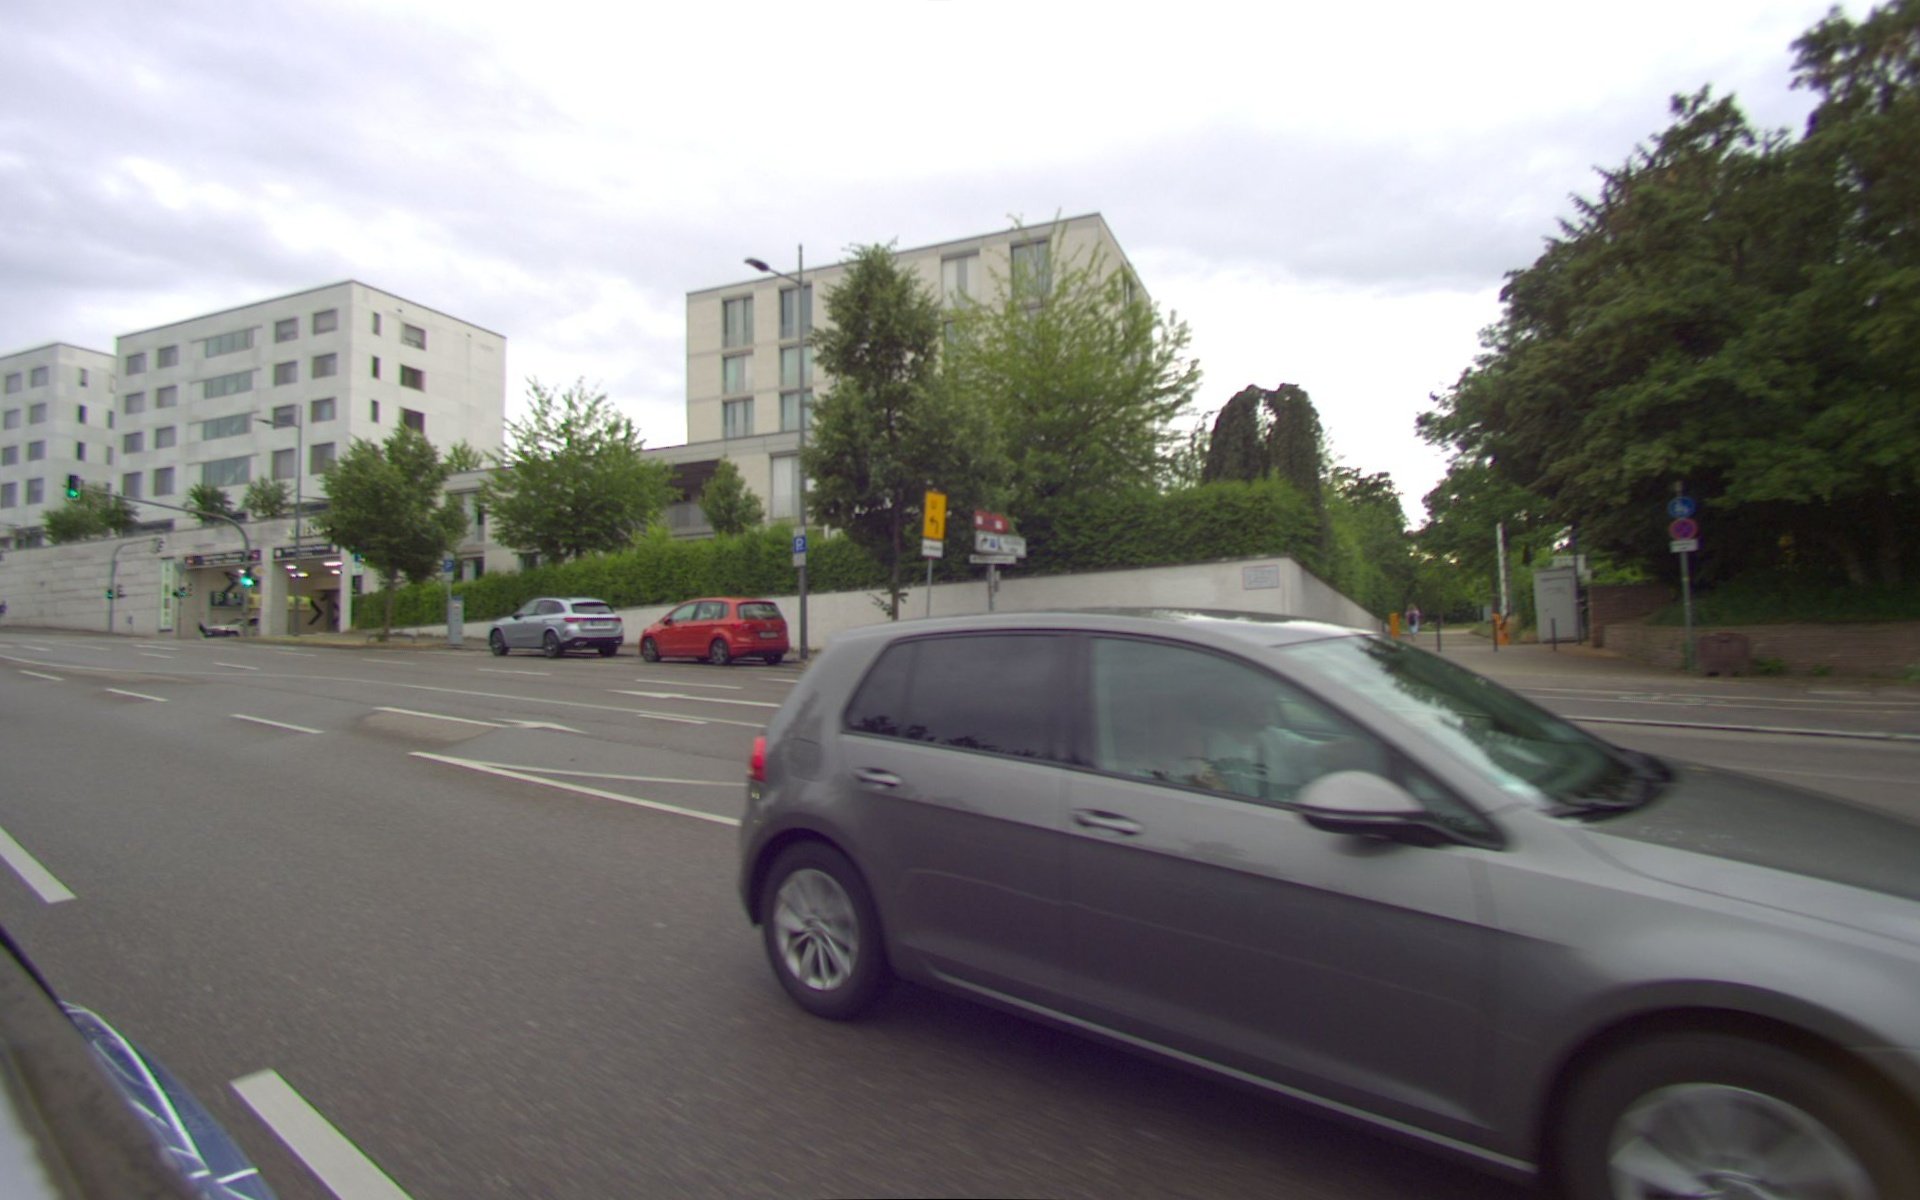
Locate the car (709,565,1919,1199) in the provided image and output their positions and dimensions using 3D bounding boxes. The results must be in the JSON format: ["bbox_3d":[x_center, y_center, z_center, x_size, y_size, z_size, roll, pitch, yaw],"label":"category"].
[{"bbox_3d":[1.279,0.702,3.211,4.292,1.452,1.853,-1,-2,39],"label":"car"}]

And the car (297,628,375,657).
[{"bbox_3d":[-40.678,2.774,66.053,1.789,1.785,3.968,0,-3,24],"label":"car"}]

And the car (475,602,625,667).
[{"bbox_3d":[-11.546,0.925,28.351,4.877,1.666,1.747,-1,-1,38],"label":"car"}]

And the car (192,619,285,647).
[{"bbox_3d":[-45.238,2.094,63.566,1.985,1.664,4.317,0,-3,20],"label":"car"}]

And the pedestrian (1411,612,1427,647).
[{"bbox_3d":[20.976,1.334,46.229,0.644,1.583,0.629,-1,-2,25],"label":"pedestrian"}]

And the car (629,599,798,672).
[{"bbox_3d":[-5.921,0.818,24.099,4.211,1.599,1.649,-1,-3,38],"label":"car"}]
